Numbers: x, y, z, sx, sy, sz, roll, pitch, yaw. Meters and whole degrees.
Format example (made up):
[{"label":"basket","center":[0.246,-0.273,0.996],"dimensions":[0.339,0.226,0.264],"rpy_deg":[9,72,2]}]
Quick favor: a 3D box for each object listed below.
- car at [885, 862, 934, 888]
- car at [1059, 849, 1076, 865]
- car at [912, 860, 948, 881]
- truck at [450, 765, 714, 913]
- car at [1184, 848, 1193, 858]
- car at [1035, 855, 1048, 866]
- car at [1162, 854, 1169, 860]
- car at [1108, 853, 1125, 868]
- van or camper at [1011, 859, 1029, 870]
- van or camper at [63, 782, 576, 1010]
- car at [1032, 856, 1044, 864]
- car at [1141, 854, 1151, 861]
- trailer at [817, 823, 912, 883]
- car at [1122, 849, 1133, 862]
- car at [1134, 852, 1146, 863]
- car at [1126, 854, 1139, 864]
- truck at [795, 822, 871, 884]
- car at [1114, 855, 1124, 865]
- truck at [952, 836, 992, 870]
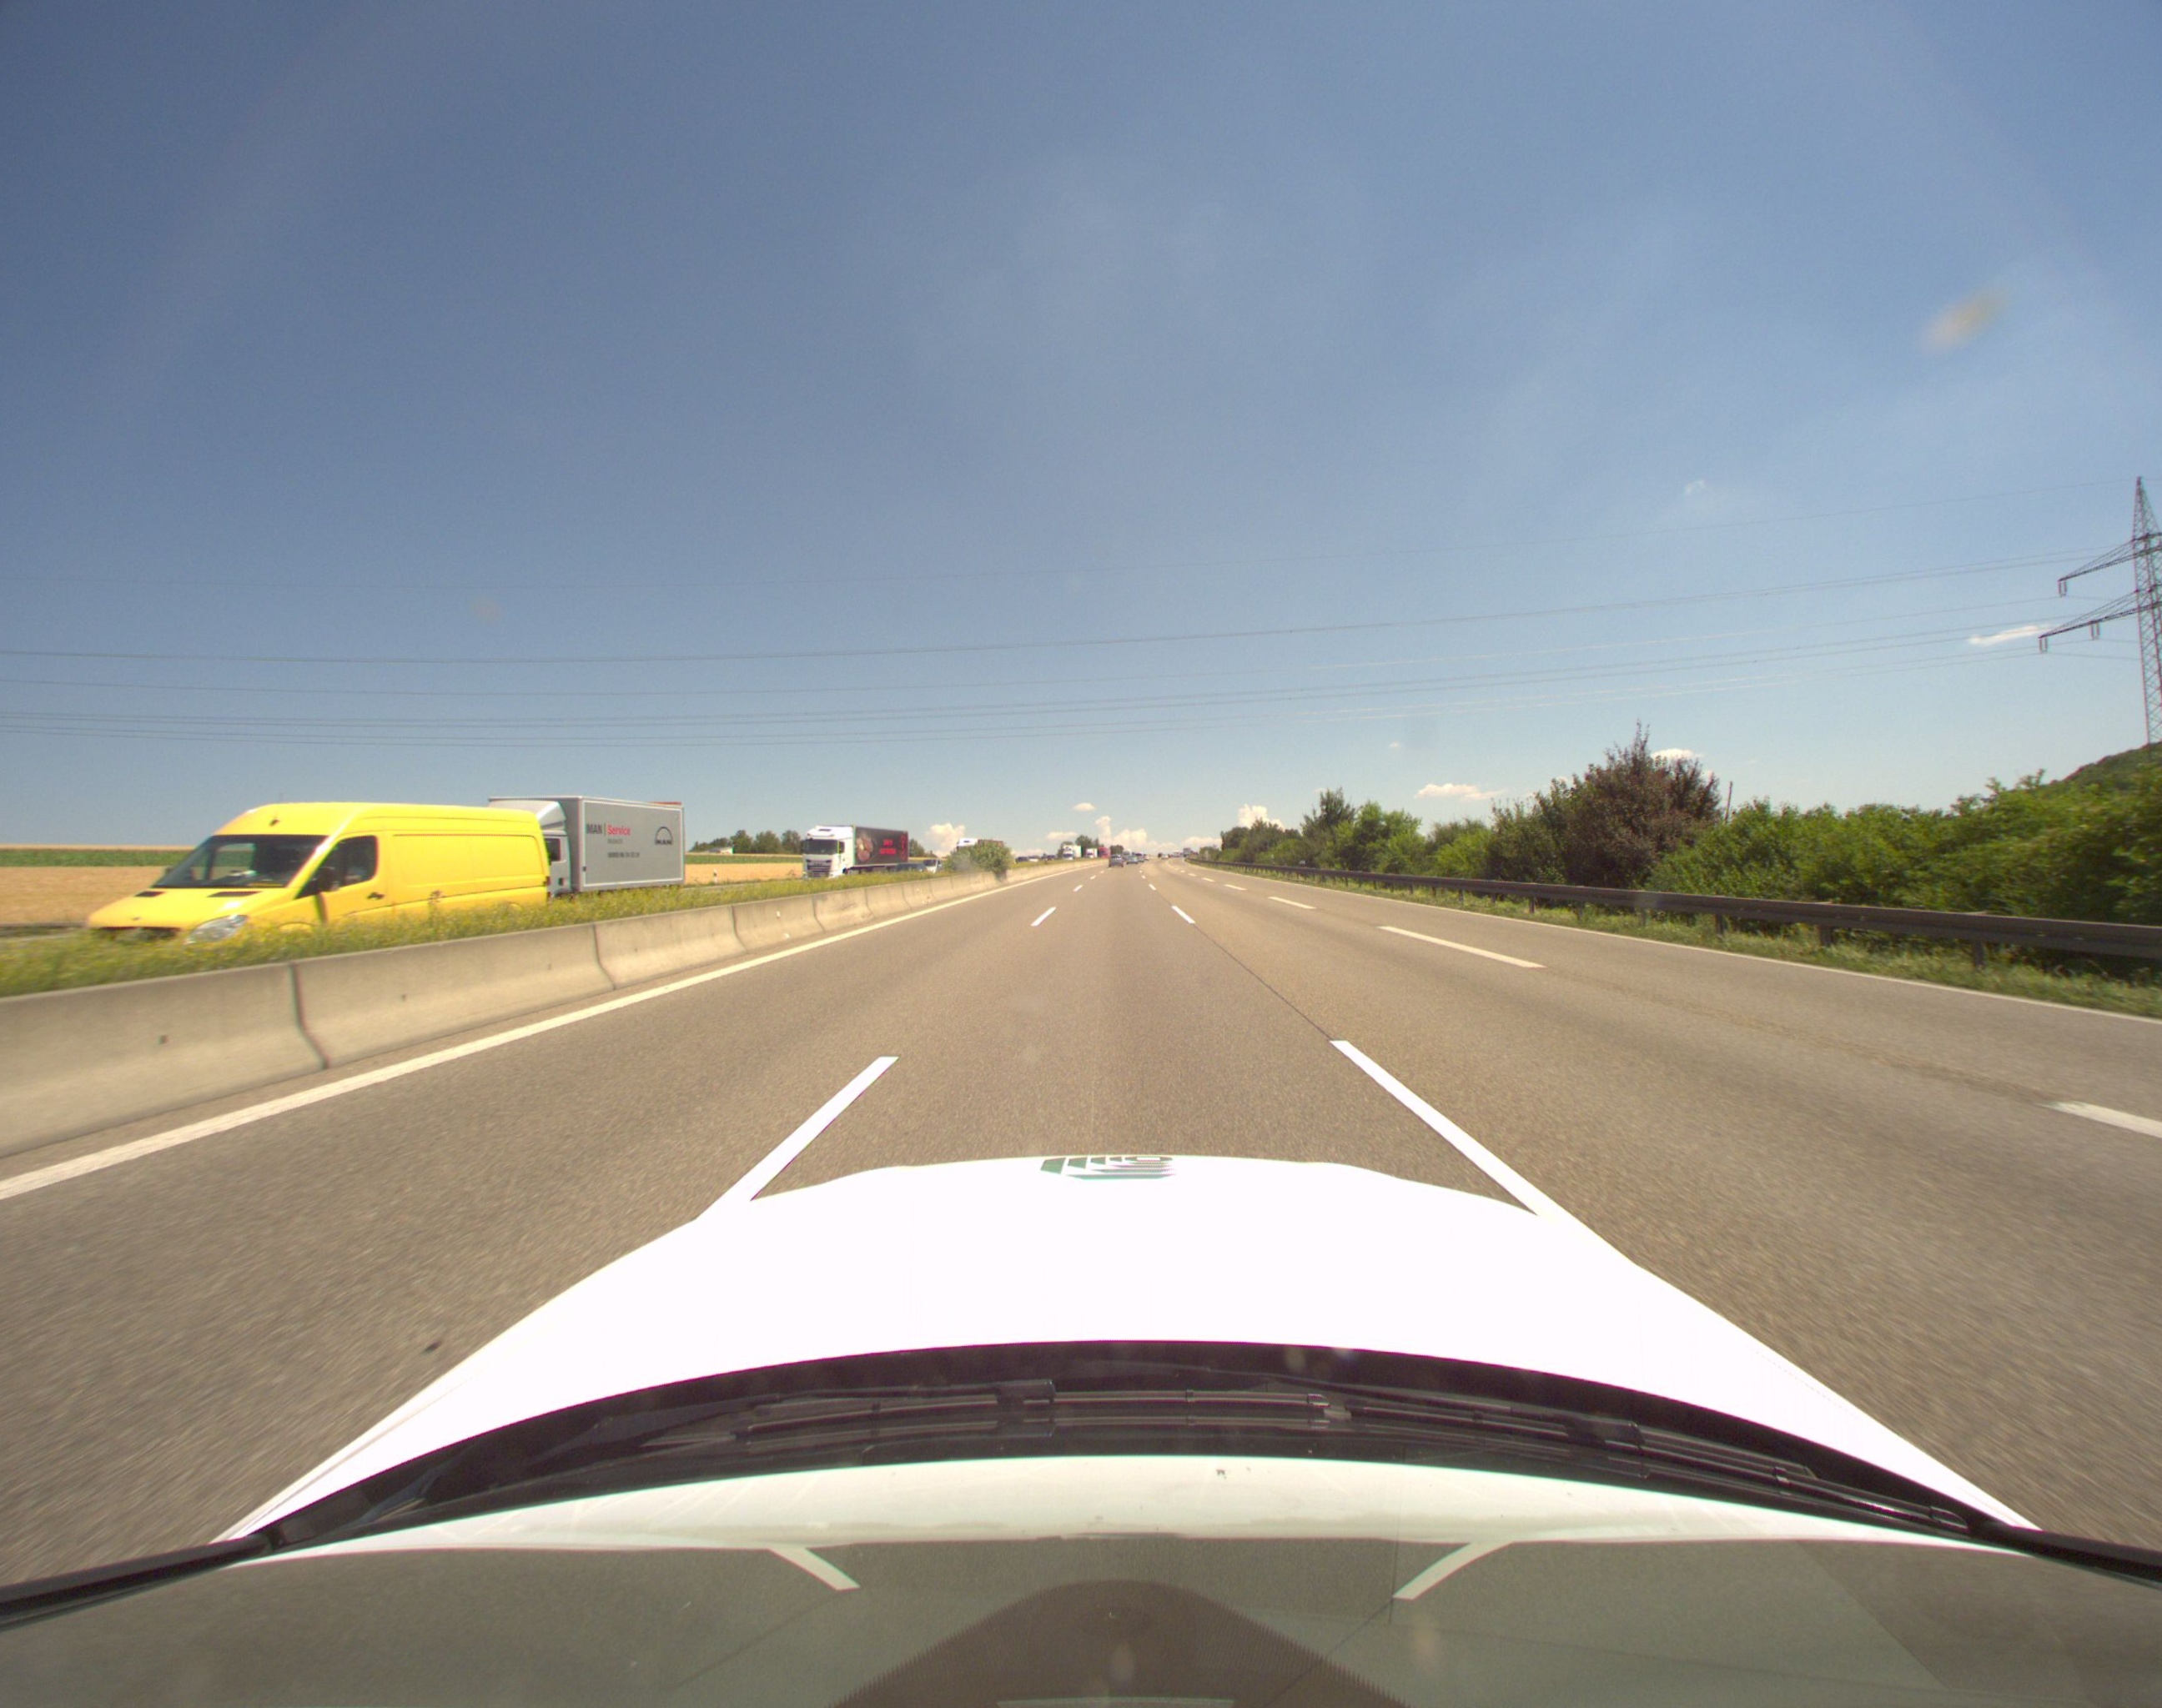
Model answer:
[{"label":"car","center":[-9.943,1.184,47.519],"dimensions":[1.779,1.468,4.003],"rpy_deg":[-1,-1,3]},{"label":"car","center":[-2.357,0.565,145.095],"dimensions":[2.394,2.679,6.043],"rpy_deg":[-1,-1,3]},{"label":"car","center":[-12.078,1.317,65.454],"dimensions":[1.986,1.578,4.002],"rpy_deg":[-1,0,2]},{"label":"truck","center":[-14.447,-0.388,24.588],"dimensions":[2.924,3.743,7.783],"rpy_deg":[0,0,2]},{"label":"car","center":[27.264,-0.284,206.617],"dimensions":[1.983,2.301,6.275],"rpy_deg":[-1,0,7]},{"label":"car","center":[-7.188,1.205,148.430],"dimensions":[1.985,1.849,4.003],"rpy_deg":[-1,-1,3]},{"label":"car","center":[22.641,0.741,217.948],"dimensions":[1.892,1.442,4.008],"rpy_deg":[-1,0,7]},{"label":"car","center":[4.456,0.821,102.537],"dimensions":[1.986,1.750,4.000],"rpy_deg":[0,-3,1]},{"label":"van or camper","center":[-8.671,1.533,116.019],"dimensions":[1.985,1.453,4.003],"rpy_deg":[-1,0,3]},{"label":"van or camper","center":[-10.986,0.508,12.775],"dimensions":[2.076,2.707,6.143],"rpy_deg":[-1,0,3]},{"label":"car","center":[-8.817,1.299,168.720],"dimensions":[1.985,1.618,4.004],"rpy_deg":[-1,0,4]},{"label":"car","center":[15.339,0.857,192.090],"dimensions":[1.983,1.552,4.008],"rpy_deg":[1,0,7]},{"label":"trailer","center":[-16.513,-0.036,63.702],"dimensions":[2.781,4.105,14.022],"rpy_deg":[-1,0,4]},{"label":"car","center":[10.260,0.291,179.269],"dimensions":[2.169,2.625,4.678],"rpy_deg":[-1,-3,5]},{"label":"car","center":[11.224,0.703,155.217],"dimensions":[1.983,1.904,4.006],"rpy_deg":[-1,-3,6]},{"label":"car","center":[8.316,0.837,132.010],"dimensions":[1.985,1.585,4.004],"rpy_deg":[-2,-2,4]},{"label":"truck","center":[-17.034,-0.049,56.414],"dimensions":[2.840,4.027,6.521],"rpy_deg":[-1,0,4]},{"label":"car","center":[7.607,1.201,162.907],"dimensions":[1.838,1.861,4.212],"rpy_deg":[-1,1,6]},{"label":"truck","center":[-13.837,-0.086,104.383],"dimensions":[2.874,4.171,10.635],"rpy_deg":[-1,0,4]}]
